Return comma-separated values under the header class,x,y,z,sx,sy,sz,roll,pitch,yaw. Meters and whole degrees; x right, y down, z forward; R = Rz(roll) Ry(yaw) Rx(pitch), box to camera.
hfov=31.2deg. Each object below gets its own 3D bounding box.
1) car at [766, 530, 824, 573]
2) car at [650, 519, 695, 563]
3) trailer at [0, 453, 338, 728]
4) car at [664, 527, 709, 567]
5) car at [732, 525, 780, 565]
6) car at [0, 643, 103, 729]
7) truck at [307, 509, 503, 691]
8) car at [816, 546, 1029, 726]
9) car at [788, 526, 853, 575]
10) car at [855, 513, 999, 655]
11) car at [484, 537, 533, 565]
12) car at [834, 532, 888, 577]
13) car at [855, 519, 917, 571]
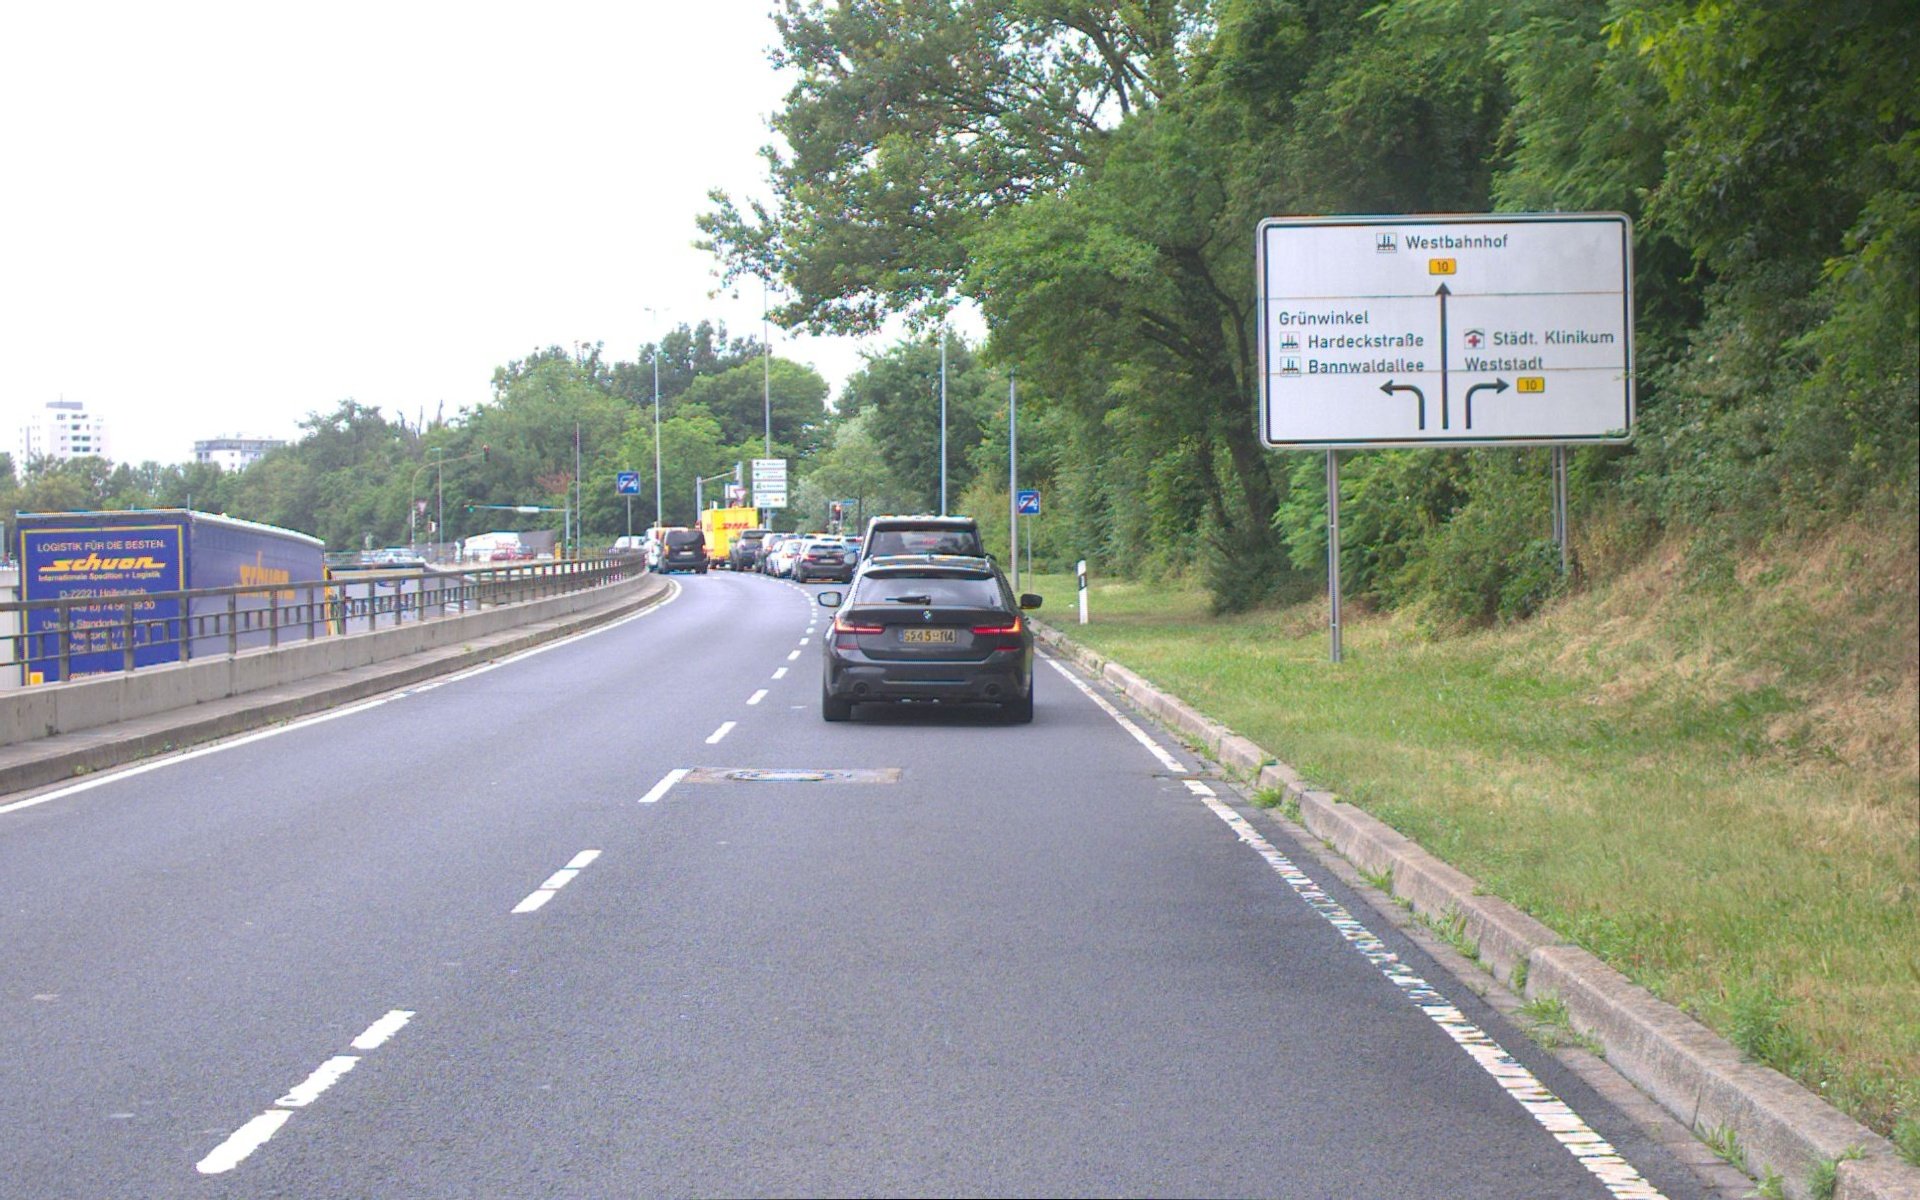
class,x,y,z,sx,sy,sz,roll,pitch,yaw
car,-6.308,-1.840,131.082,1.884,1.587,4.431,1,1,-7
car,-13.069,-2.668,156.097,1.884,1.980,4.431,1,1,-7
trailer,-13.245,-0.202,58.887,2.851,4.023,16.007,-1,0,-2
car,-11.785,-2.284,148.155,1.623,1.696,4.297,1,1,-8
car,-9.115,-2.440,153.130,1.884,1.694,4.431,1,1,-7
car,-17.934,1.648,66.745,1.623,1.523,3.897,1,1,-1
truck,-13.460,-0.051,84.753,2.850,4.023,15.579,-1,0,-2
car,-0.290,0.262,30.550,1.748,1.421,4.462,0,2,0
car,-4.755,-1.676,116.805,1.884,1.587,4.431,1,1,-7
car,-0.472,-0.233,48.265,1.899,1.878,4.416,1,1,-1
car,-28.272,-3.055,215.405,1.624,1.696,4.294,1,1,12
car,-4.198,-1.919,145.430,1.884,1.873,4.431,1,1,-7
car,-2.801,-2.061,129.414,1.884,1.873,4.431,1,1,-7
